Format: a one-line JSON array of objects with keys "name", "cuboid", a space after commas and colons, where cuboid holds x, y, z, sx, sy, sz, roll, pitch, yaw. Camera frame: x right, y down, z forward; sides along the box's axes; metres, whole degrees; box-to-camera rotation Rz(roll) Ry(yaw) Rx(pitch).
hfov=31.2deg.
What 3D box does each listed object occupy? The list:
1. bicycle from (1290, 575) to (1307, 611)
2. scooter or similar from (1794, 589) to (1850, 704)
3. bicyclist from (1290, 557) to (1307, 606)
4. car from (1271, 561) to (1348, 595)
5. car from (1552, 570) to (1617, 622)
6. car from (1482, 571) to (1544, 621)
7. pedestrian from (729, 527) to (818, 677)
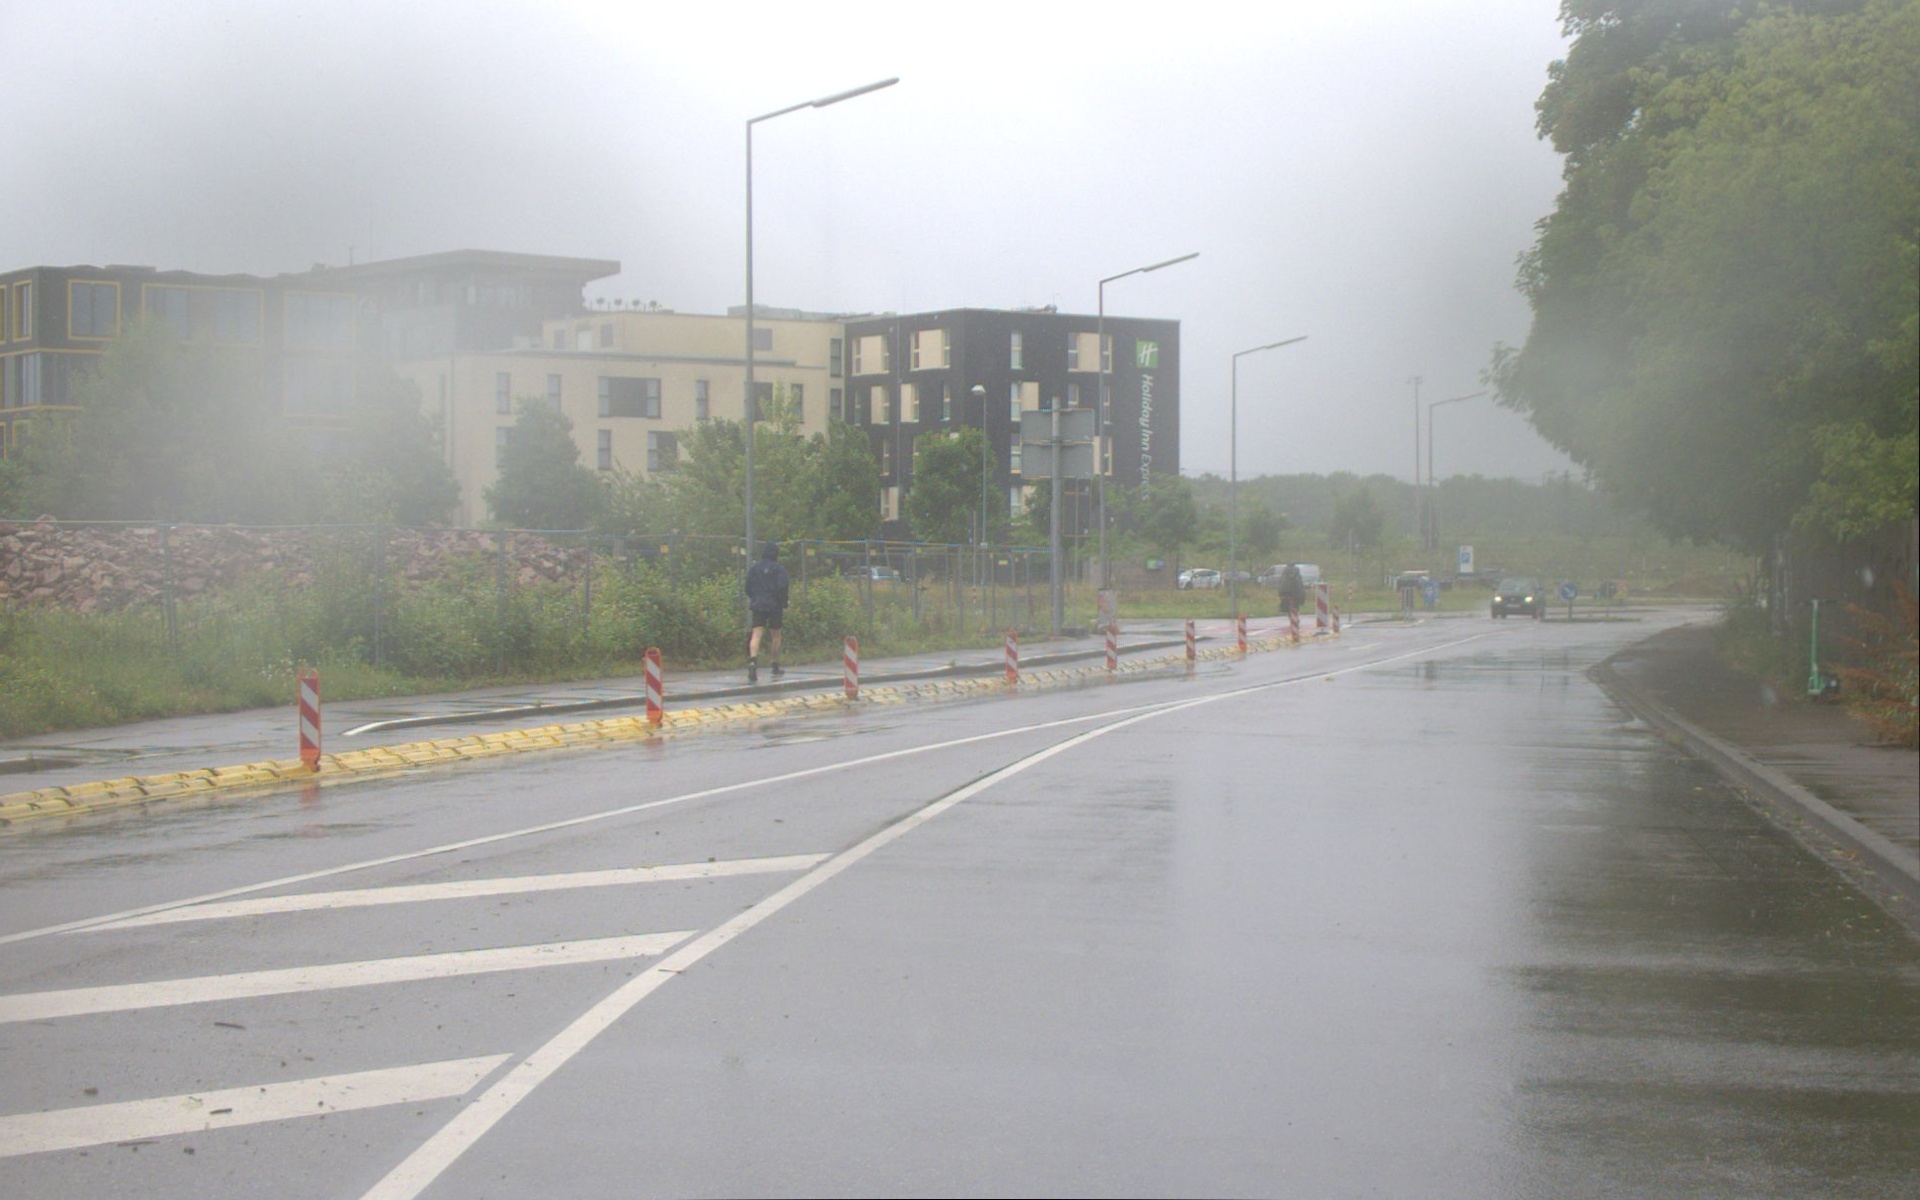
[{"name": "bicycle", "cuboid": [9.733, -0.196, 98.783, 0.427, 1.016, 1.611, 1, 0, 8]}, {"name": "scooter or similar", "cuboid": [9.450, 0.501, 37.716, 0.491, 1.230, 1.370, 0, 0, 10]}, {"name": "bicyclist", "cuboid": [9.731, -0.532, 98.882, 0.444, 1.399, 0.550, 1, -2, 9]}, {"name": "car", "cuboid": [20.048, -1.276, 197.347, 3.986, 1.766, 2.000, 2, -2, -31]}, {"name": "car", "cuboid": [22.809, -0.126, 125.432, 1.995, 1.766, 3.997, 0, -2, 15]}, {"name": "car", "cuboid": [20.180, -0.151, 125.340, 1.994, 1.766, 3.998, 0, 0, 12]}, {"name": "pedestrian", "cuboid": [-2.542, 0.032, 46.879, 0.846, 2.007, 1.130, 0, -2, 17]}]
